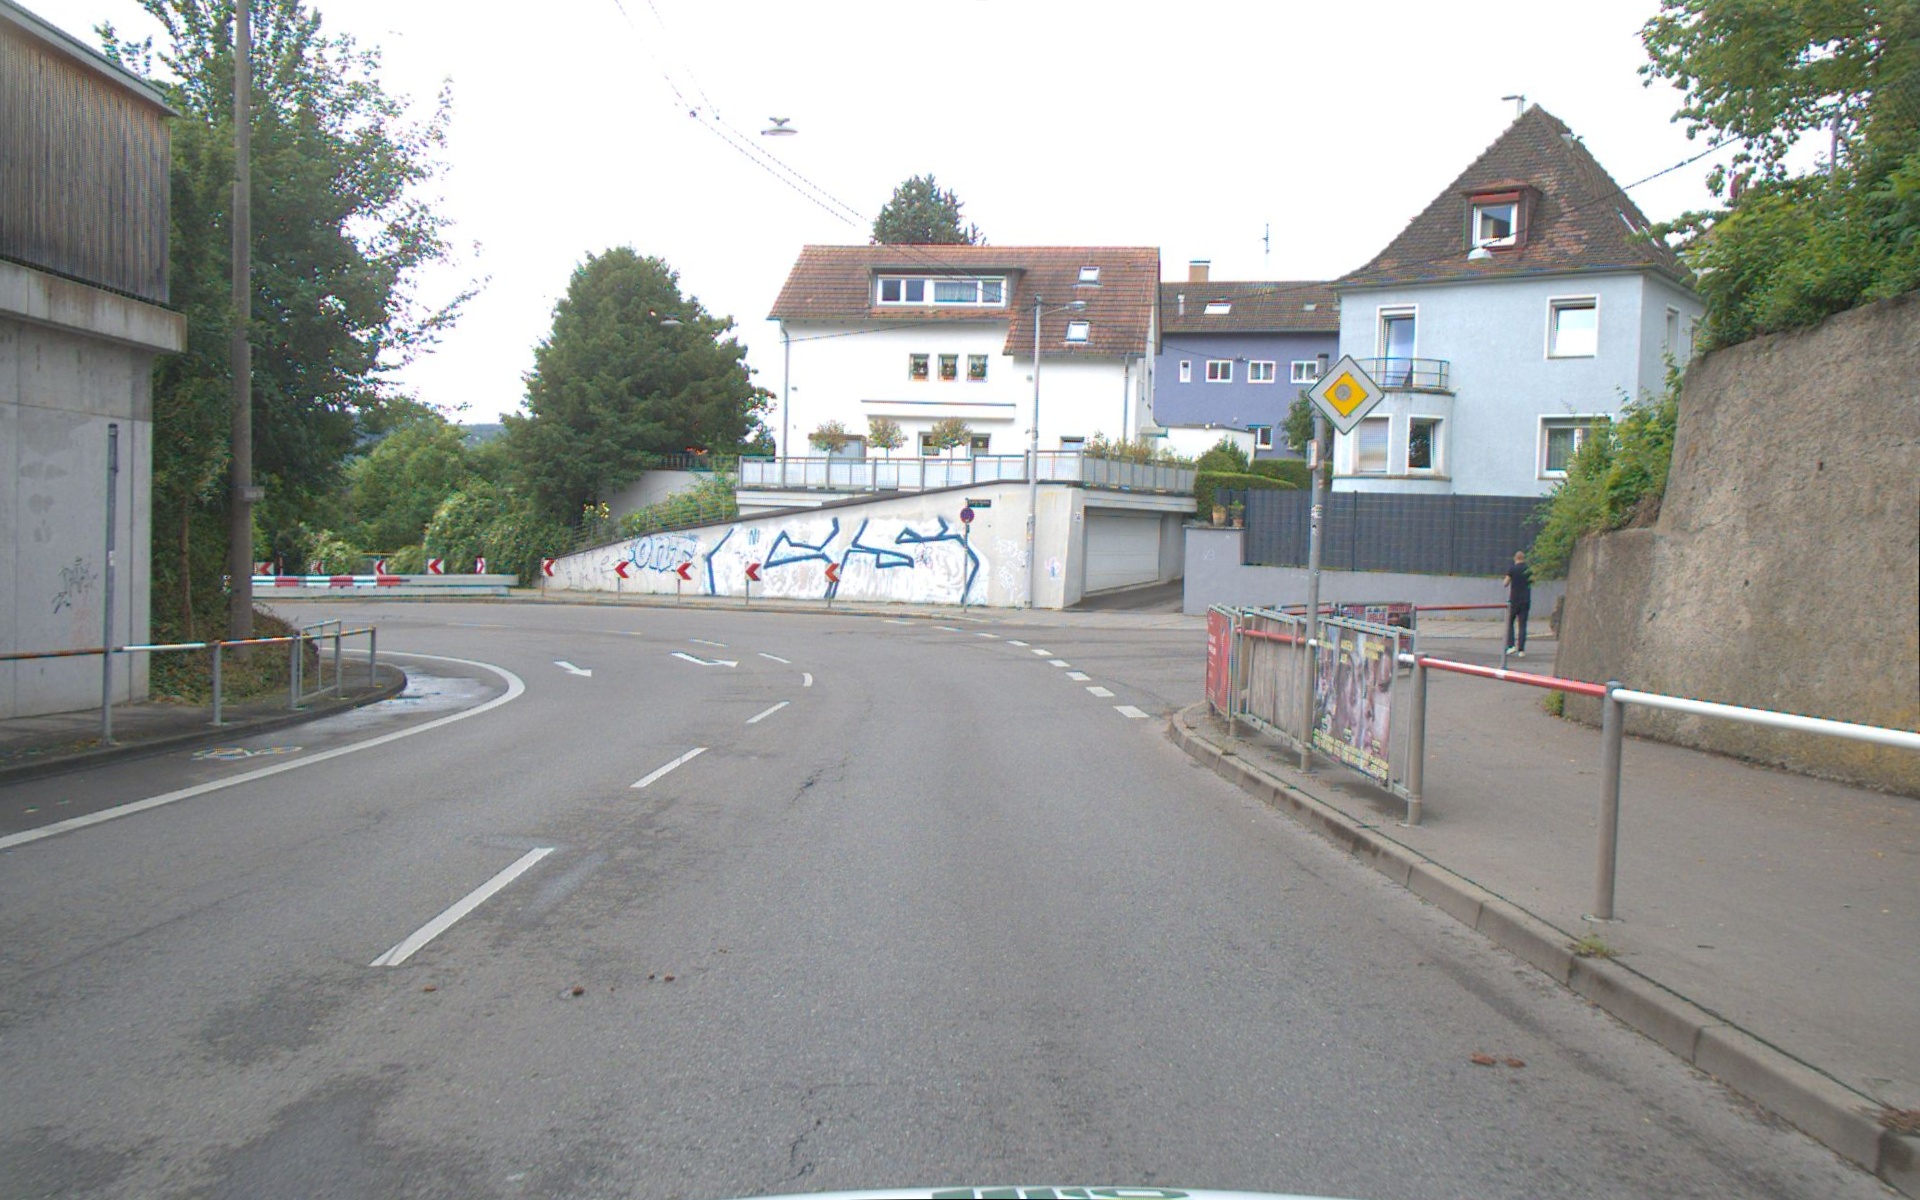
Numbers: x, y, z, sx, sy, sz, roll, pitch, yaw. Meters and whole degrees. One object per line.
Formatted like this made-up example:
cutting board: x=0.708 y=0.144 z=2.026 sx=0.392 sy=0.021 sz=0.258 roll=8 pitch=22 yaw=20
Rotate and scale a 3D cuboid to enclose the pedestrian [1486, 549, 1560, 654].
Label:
pedestrian: x=10.082 y=0.009 z=29.646 sx=0.815 sy=1.842 sz=0.998 roll=-2 pitch=2 yaw=-44
